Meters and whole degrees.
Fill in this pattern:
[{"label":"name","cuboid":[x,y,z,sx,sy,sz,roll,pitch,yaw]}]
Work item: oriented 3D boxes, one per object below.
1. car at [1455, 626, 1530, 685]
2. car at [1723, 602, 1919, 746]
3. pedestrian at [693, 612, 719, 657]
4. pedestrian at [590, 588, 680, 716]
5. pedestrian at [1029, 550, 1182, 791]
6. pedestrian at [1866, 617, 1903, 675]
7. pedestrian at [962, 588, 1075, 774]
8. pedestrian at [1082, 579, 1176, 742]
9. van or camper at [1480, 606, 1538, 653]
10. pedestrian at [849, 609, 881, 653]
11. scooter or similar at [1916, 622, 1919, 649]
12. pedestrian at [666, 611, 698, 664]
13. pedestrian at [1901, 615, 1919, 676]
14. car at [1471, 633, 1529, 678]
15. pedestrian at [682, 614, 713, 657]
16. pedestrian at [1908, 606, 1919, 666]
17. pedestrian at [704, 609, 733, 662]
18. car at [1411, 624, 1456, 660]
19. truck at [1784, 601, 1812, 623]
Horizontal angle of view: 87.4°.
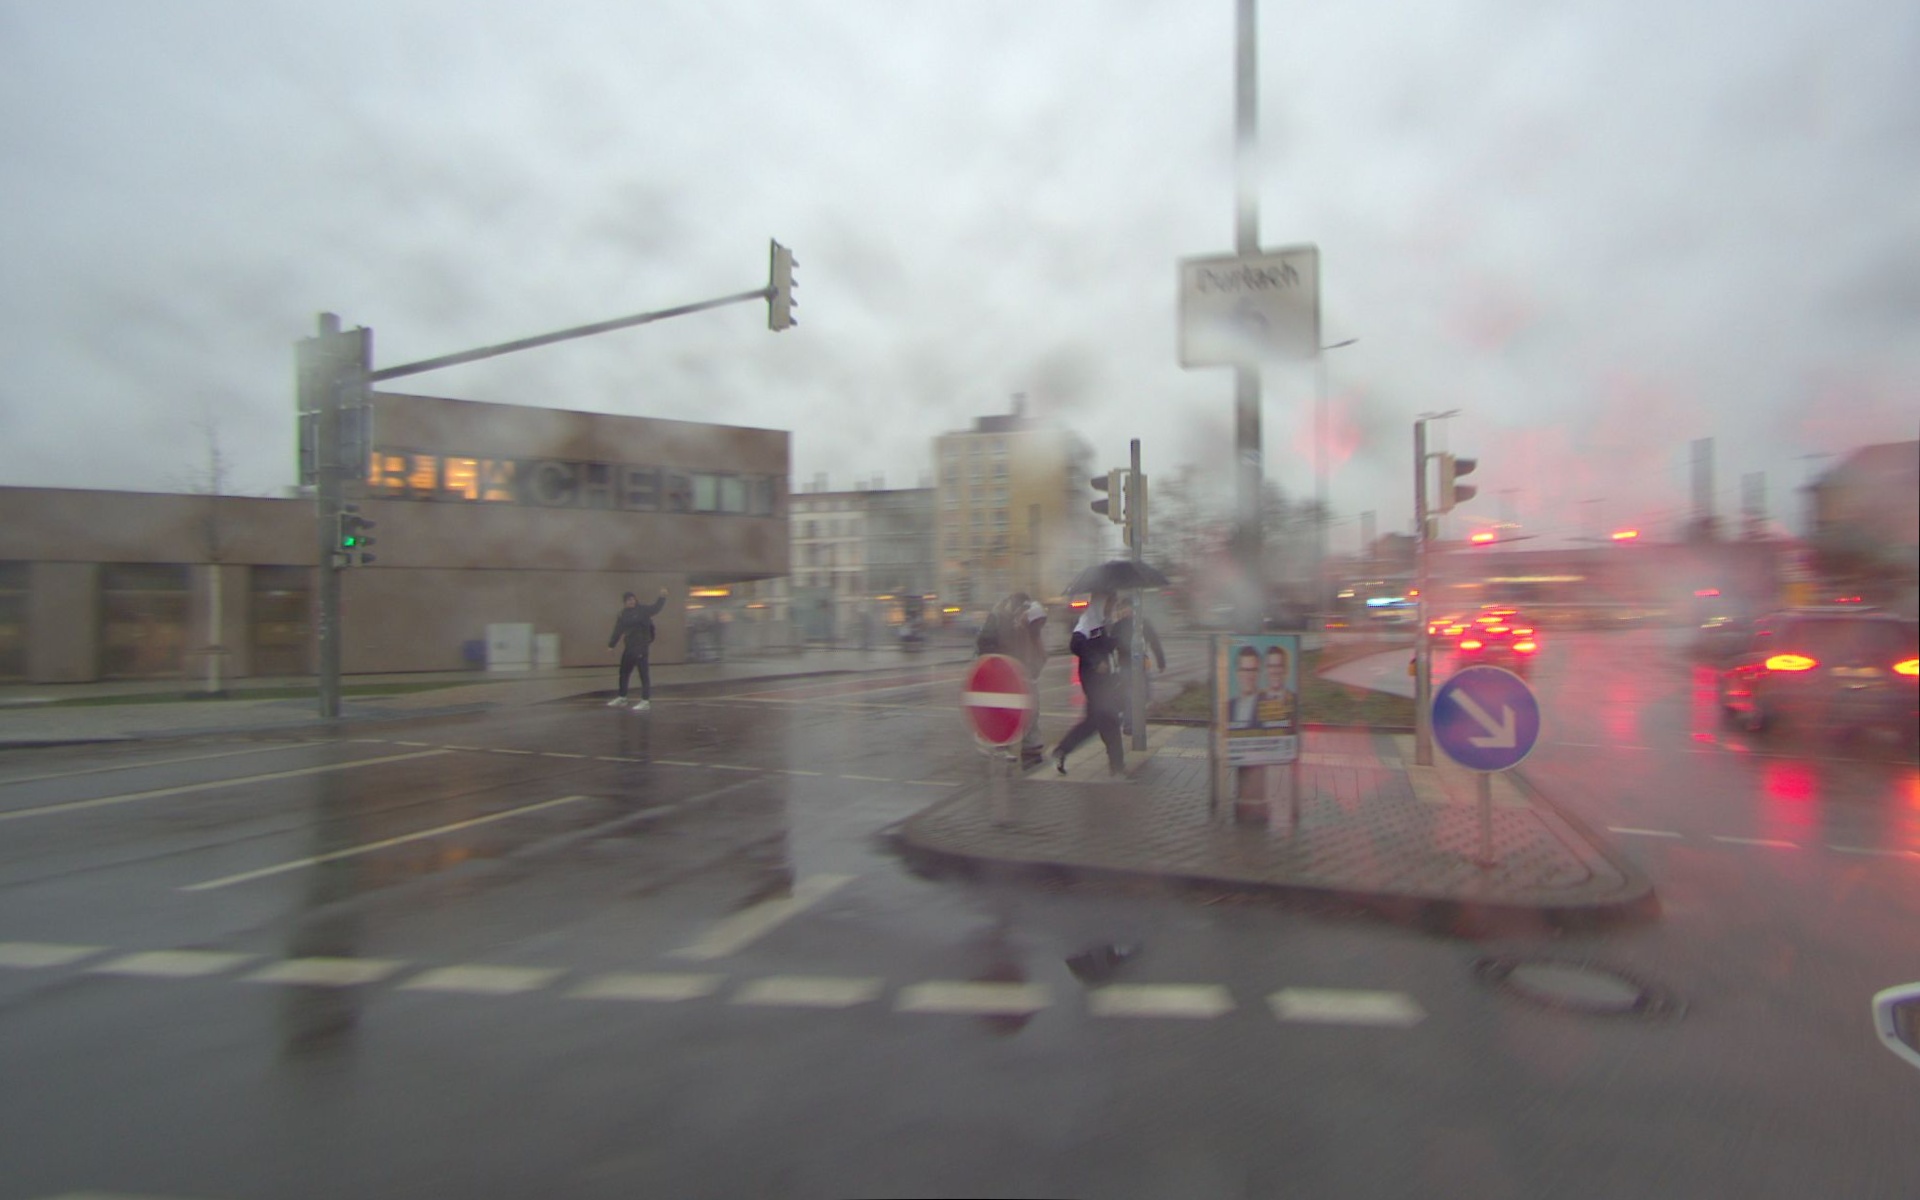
[{"label":"car","cuboid":[15.594,1.575,29.568,1.674,1.501,3.869,2,0,24]},{"label":"car","cuboid":[12.668,0.953,14.934,1.753,1.824,4.413,0,0,33]},{"label":"pedestrian","cuboid":[-10.289,1.387,40.693,0.784,1.774,0.763,-1,-1,12]},{"label":"pedestrian","cuboid":[-5.087,0.771,15.707,1.024,1.883,1.223,-2,2,-33]},{"label":"pedestrian","cuboid":[1.372,0.599,9.316,1.191,2.077,1.035,0,2,21]},{"label":"pedestrian","cuboid":[32.368,1.603,35.185,0.752,1.956,0.802,-2,2,-34]},{"label":"pedestrian","cuboid":[0.610,0.828,10.924,1.016,1.883,1.069,-1,1,-8]},{"label":"pedestrian","cuboid":[2.184,0.759,13.082,1.087,2.032,0.848,-1,1,3]},{"label":"van or camper","cuboid":[26.783,1.416,48.925,2.171,2.137,4.975,1,-1,32]},{"label":"pedestrian","cuboid":[-4.288,1.374,45.215,1.109,1.944,1.055,0,-1,-28]},{"label":"scooter or similar","cuboid":[43.001,1.565,44.454,1.364,1.230,0.511,0,-1,-24]},{"label":"pedestrian","cuboid":[-9.385,1.248,33.902,0.731,1.749,0.741,-2,-1,37]},{"label":"pedestrian","cuboid":[33.020,1.574,34.567,0.752,2.041,0.802,-2,2,-34]},{"label":"car","cuboid":[19.429,1.955,36.248,1.633,1.423,4.116,1,0,26]},{"label":"pedestrian","cuboid":[-10.228,1.383,39.067,0.954,1.624,0.849,0,-1,-32]},{"label":"pedestrian","cuboid":[29.414,1.091,30.332,0.836,1.815,0.749,0,-1,3]},{"label":"pedestrian","cuboid":[-8.284,1.205,34.476,0.648,1.791,0.833,-1,-1,12]},{"label":"car","cuboid":[24.827,2.161,52.581,1.857,1.795,3.993,0,-1,30]},{"label":"truck","cuboid":[105.632,1.554,126.635,5.077,2.727,1.976,1,-2,-42]}]
